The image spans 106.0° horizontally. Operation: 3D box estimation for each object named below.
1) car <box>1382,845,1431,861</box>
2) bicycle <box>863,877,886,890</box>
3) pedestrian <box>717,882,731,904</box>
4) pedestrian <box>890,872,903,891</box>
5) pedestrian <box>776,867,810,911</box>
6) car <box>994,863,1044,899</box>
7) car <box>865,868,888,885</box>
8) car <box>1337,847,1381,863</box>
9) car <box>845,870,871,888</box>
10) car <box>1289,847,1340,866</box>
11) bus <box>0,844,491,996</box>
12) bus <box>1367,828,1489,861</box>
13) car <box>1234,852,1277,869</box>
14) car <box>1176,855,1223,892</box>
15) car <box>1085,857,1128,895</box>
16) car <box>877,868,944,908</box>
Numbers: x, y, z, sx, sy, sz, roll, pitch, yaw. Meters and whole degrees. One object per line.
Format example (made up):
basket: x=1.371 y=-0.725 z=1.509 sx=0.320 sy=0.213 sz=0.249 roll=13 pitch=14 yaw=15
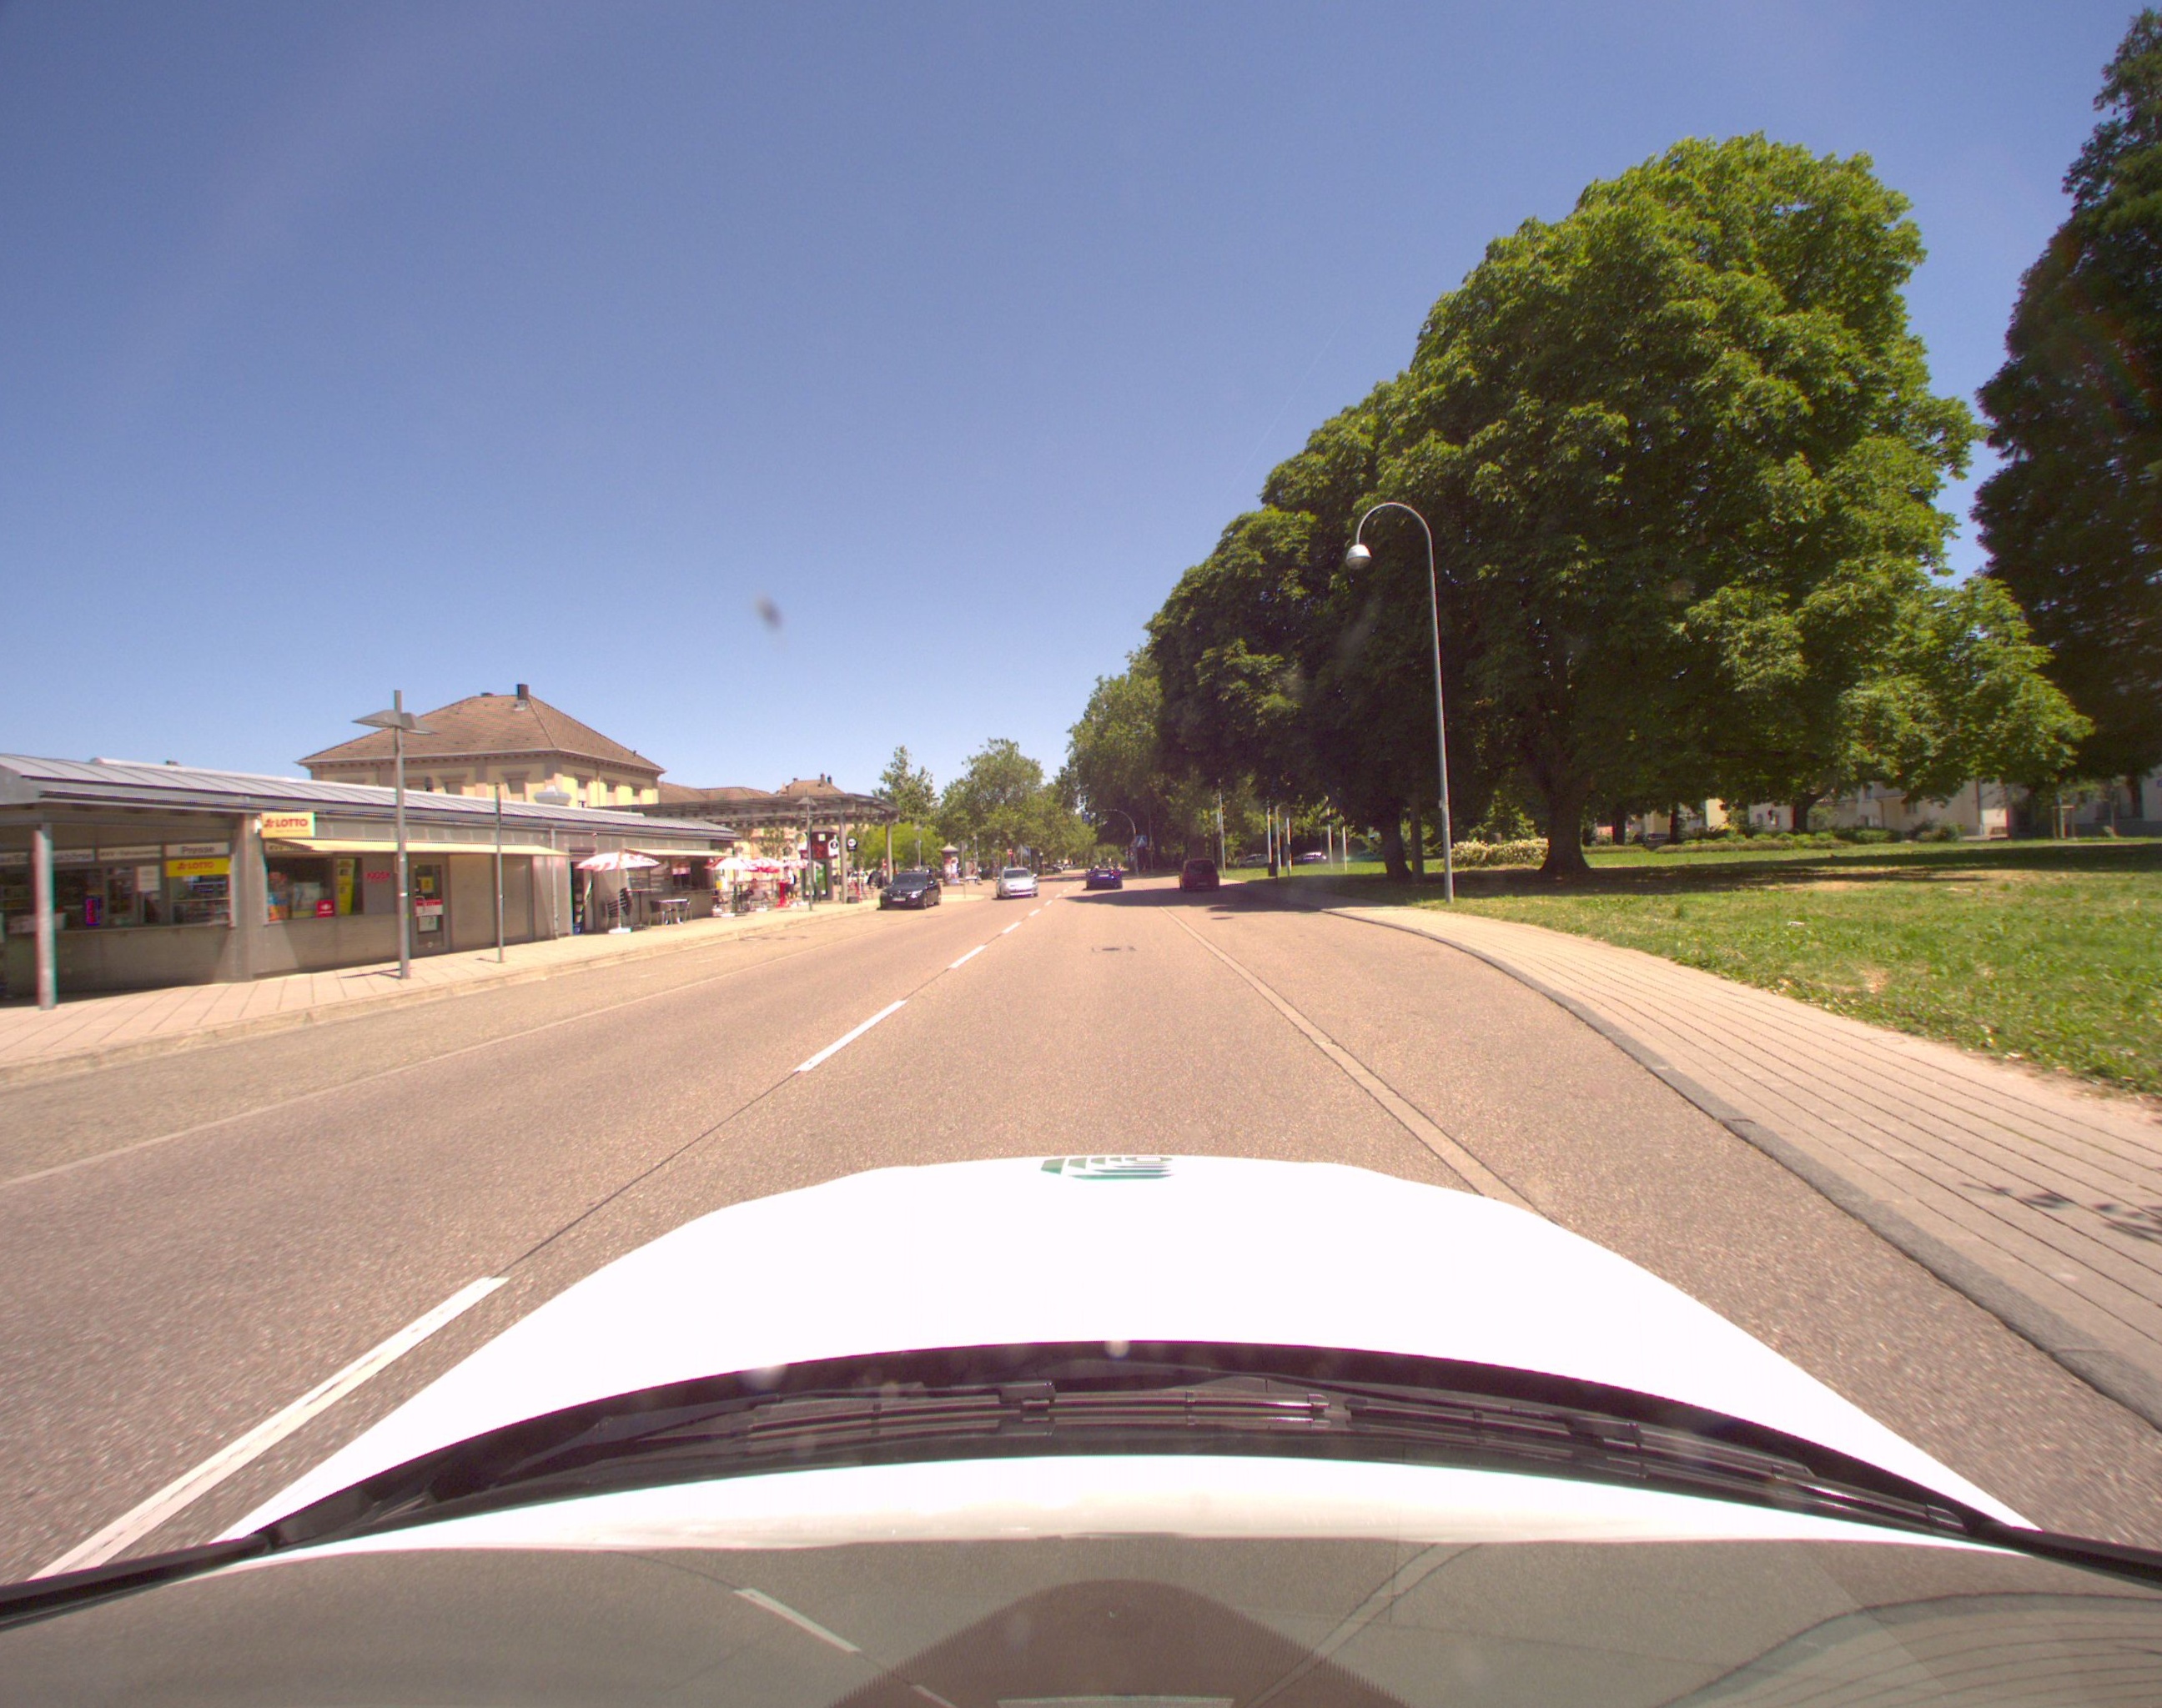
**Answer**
car: x=33.512 y=-0.094 z=83.927 sx=4.320 sy=1.416 sz=2.001 roll=-2 pitch=-2 yaw=2
bicycle: x=-17.821 y=2.535 z=70.325 sx=1.800 sy=1.030 sz=0.485 roll=-2 pitch=-1 yaw=-22
pedestrian: x=-16.188 y=1.779 z=36.925 sx=0.421 sy=0.972 sz=0.373 roll=-4 pitch=-3 yaw=14
pedestrian: x=-16.578 y=2.429 z=73.227 sx=0.754 sy=1.659 sz=0.724 roll=-4 pitch=-3 yaw=18
pedestrian: x=-12.502 y=1.519 z=35.383 sx=0.793 sy=1.828 sz=1.147 roll=-4 pitch=-3 yaw=18
car: x=-2.903 y=1.249 z=39.188 sx=1.808 sy=1.444 sz=4.160 roll=-5 pitch=0 yaw=2
car: x=-27.282 y=2.957 z=108.701 sx=1.987 sy=2.013 sz=3.999 roll=-3 pitch=-1 yaw=0
car: x=28.656 y=0.113 z=84.034 sx=3.865 sy=1.454 sz=2.001 roll=-2 pitch=-2 yaw=2
car: x=-27.764 y=3.089 z=101.633 sx=1.745 sy=1.917 sz=4.777 roll=-3 pitch=1 yaw=1
car: x=24.048 y=0.249 z=84.001 sx=4.800 sy=1.607 sz=2.003 roll=-3 pitch=-1 yaw=5
bus: x=-22.956 y=1.498 z=22.772 sx=2.666 sy=3.041 sz=13.889 roll=-3 pitch=-1 yaw=0
bus: x=38.164 y=-1.036 z=89.709 sx=12.336 sy=2.978 sz=2.268 roll=-3 pitch=-2 yaw=0
car: x=18.142 y=0.675 z=84.579 sx=4.086 sy=1.466 sz=2.002 roll=-3 pitch=-1 yaw=4
car: x=5.277 y=0.851 z=36.721 sx=1.711 sy=1.478 sz=3.709 roll=-3 pitch=-1 yaw=4
car: x=1.315 y=1.125 z=43.295 sx=2.118 sy=1.848 sz=4.048 roll=-2 pitch=-1 yaw=0
car: x=-7.084 y=1.370 z=34.304 sx=1.713 sy=1.478 sz=4.785 roll=-3 pitch=-1 yaw=0
